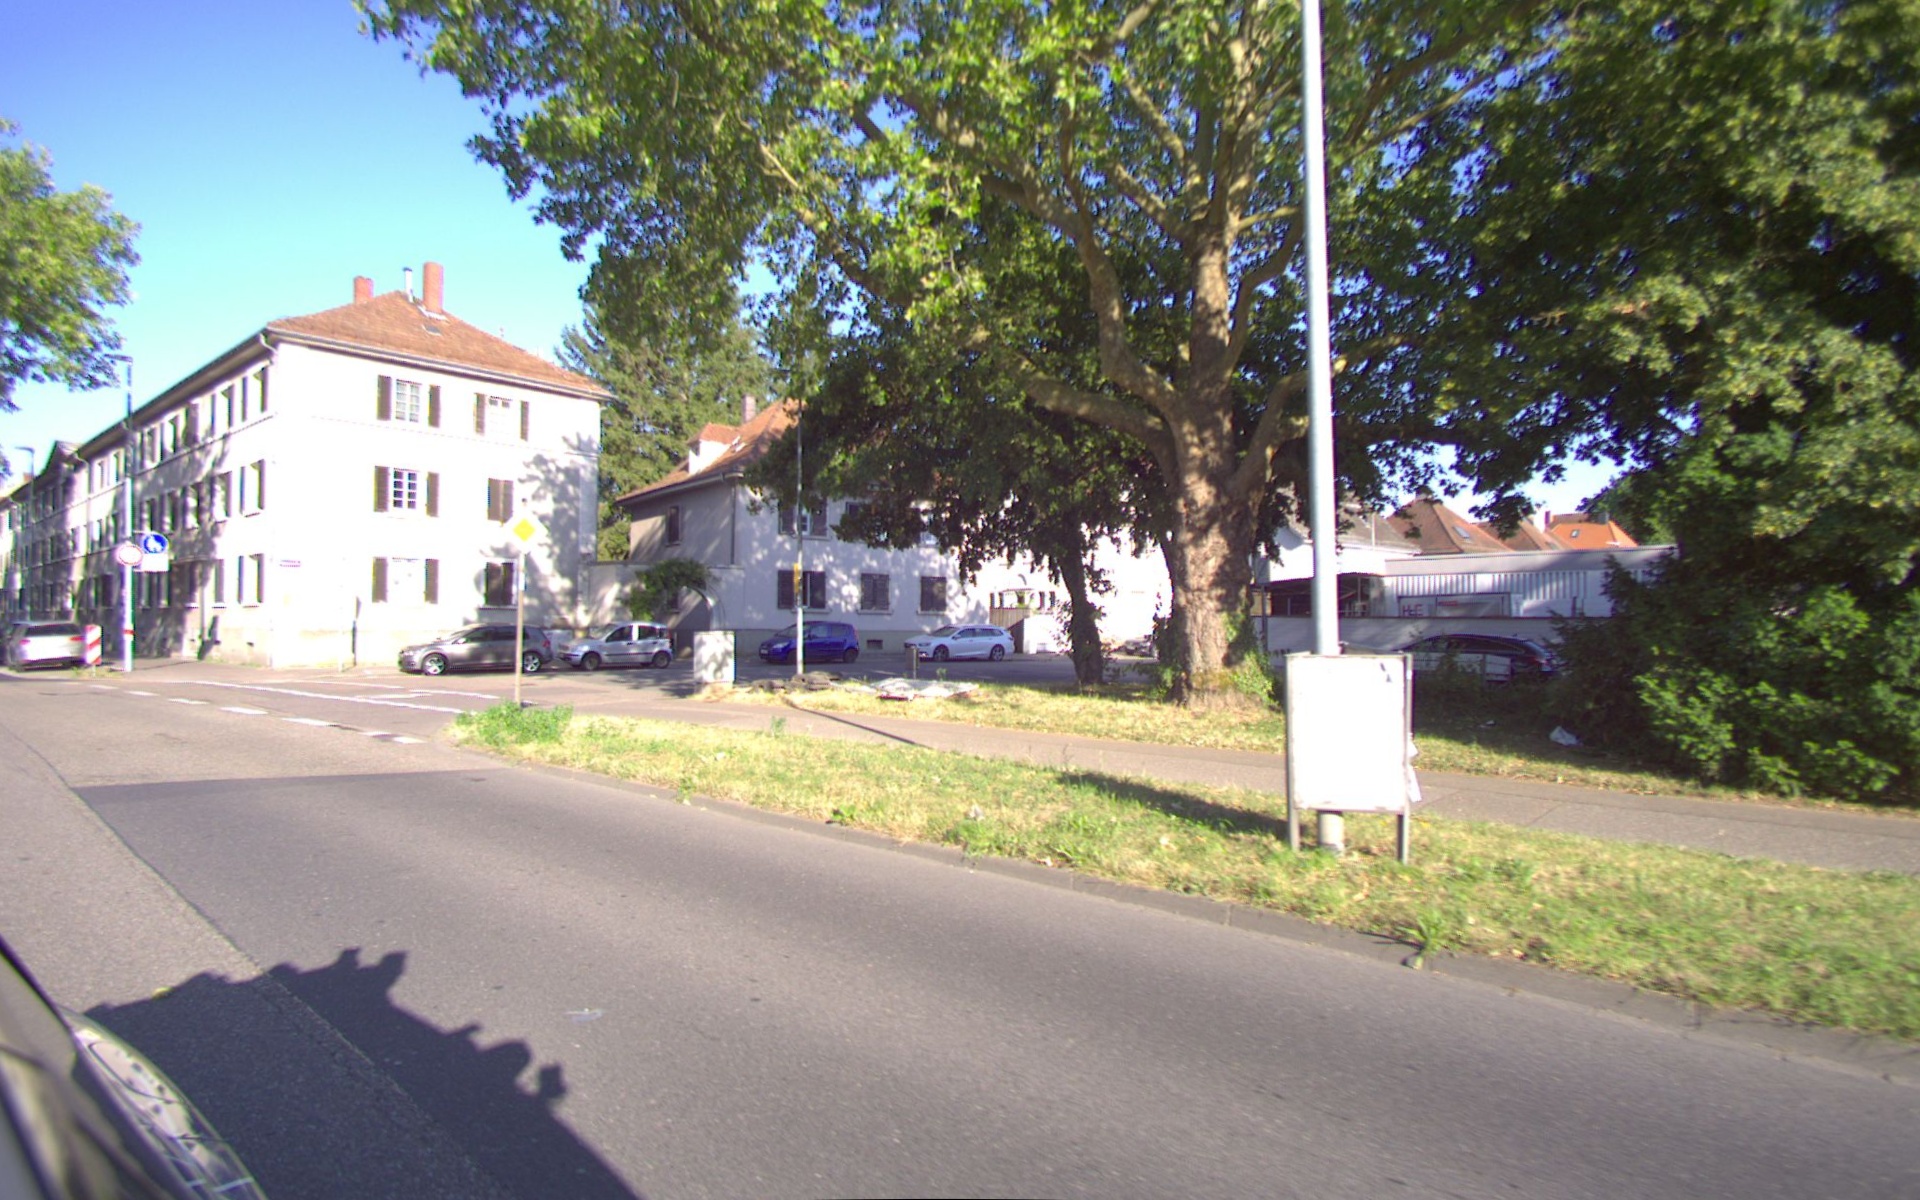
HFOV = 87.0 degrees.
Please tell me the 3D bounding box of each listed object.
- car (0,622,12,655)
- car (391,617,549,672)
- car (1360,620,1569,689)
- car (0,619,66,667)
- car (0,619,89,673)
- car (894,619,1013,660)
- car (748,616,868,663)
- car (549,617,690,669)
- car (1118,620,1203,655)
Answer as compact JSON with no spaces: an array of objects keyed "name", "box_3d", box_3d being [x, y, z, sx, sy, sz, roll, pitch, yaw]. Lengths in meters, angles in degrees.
[{"name":"car","box_3d":[-46.121,1.832,47.673,4.087,1.494,1.845,-1,1,43]},{"name":"car","box_3d":[-14.609,1.281,30.218,3.934,1.429,1.919,1,1,-37]},{"name":"car","box_3d":[12.542,1.288,25.311,4.356,1.573,1.839,-1,-2,41]},{"name":"car","box_3d":[-32.411,1.448,34.961,4.050,1.518,1.689,-1,0,40]},{"name":"car","box_3d":[-27.904,1.347,30.758,4.108,1.494,1.742,-1,0,43]},{"name":"car","box_3d":[-0.235,1.553,40.988,4.603,1.573,1.869,1,-2,-37]},{"name":"car","box_3d":[-5.560,1.416,37.169,3.934,1.573,1.869,0,0,-37]},{"name":"car","box_3d":[-11.016,1.355,32.834,3.934,1.573,1.869,1,-1,-37]},{"name":"car","box_3d":[9.744,1.796,49.117,3.934,1.573,1.869,1,-1,-37]}]
